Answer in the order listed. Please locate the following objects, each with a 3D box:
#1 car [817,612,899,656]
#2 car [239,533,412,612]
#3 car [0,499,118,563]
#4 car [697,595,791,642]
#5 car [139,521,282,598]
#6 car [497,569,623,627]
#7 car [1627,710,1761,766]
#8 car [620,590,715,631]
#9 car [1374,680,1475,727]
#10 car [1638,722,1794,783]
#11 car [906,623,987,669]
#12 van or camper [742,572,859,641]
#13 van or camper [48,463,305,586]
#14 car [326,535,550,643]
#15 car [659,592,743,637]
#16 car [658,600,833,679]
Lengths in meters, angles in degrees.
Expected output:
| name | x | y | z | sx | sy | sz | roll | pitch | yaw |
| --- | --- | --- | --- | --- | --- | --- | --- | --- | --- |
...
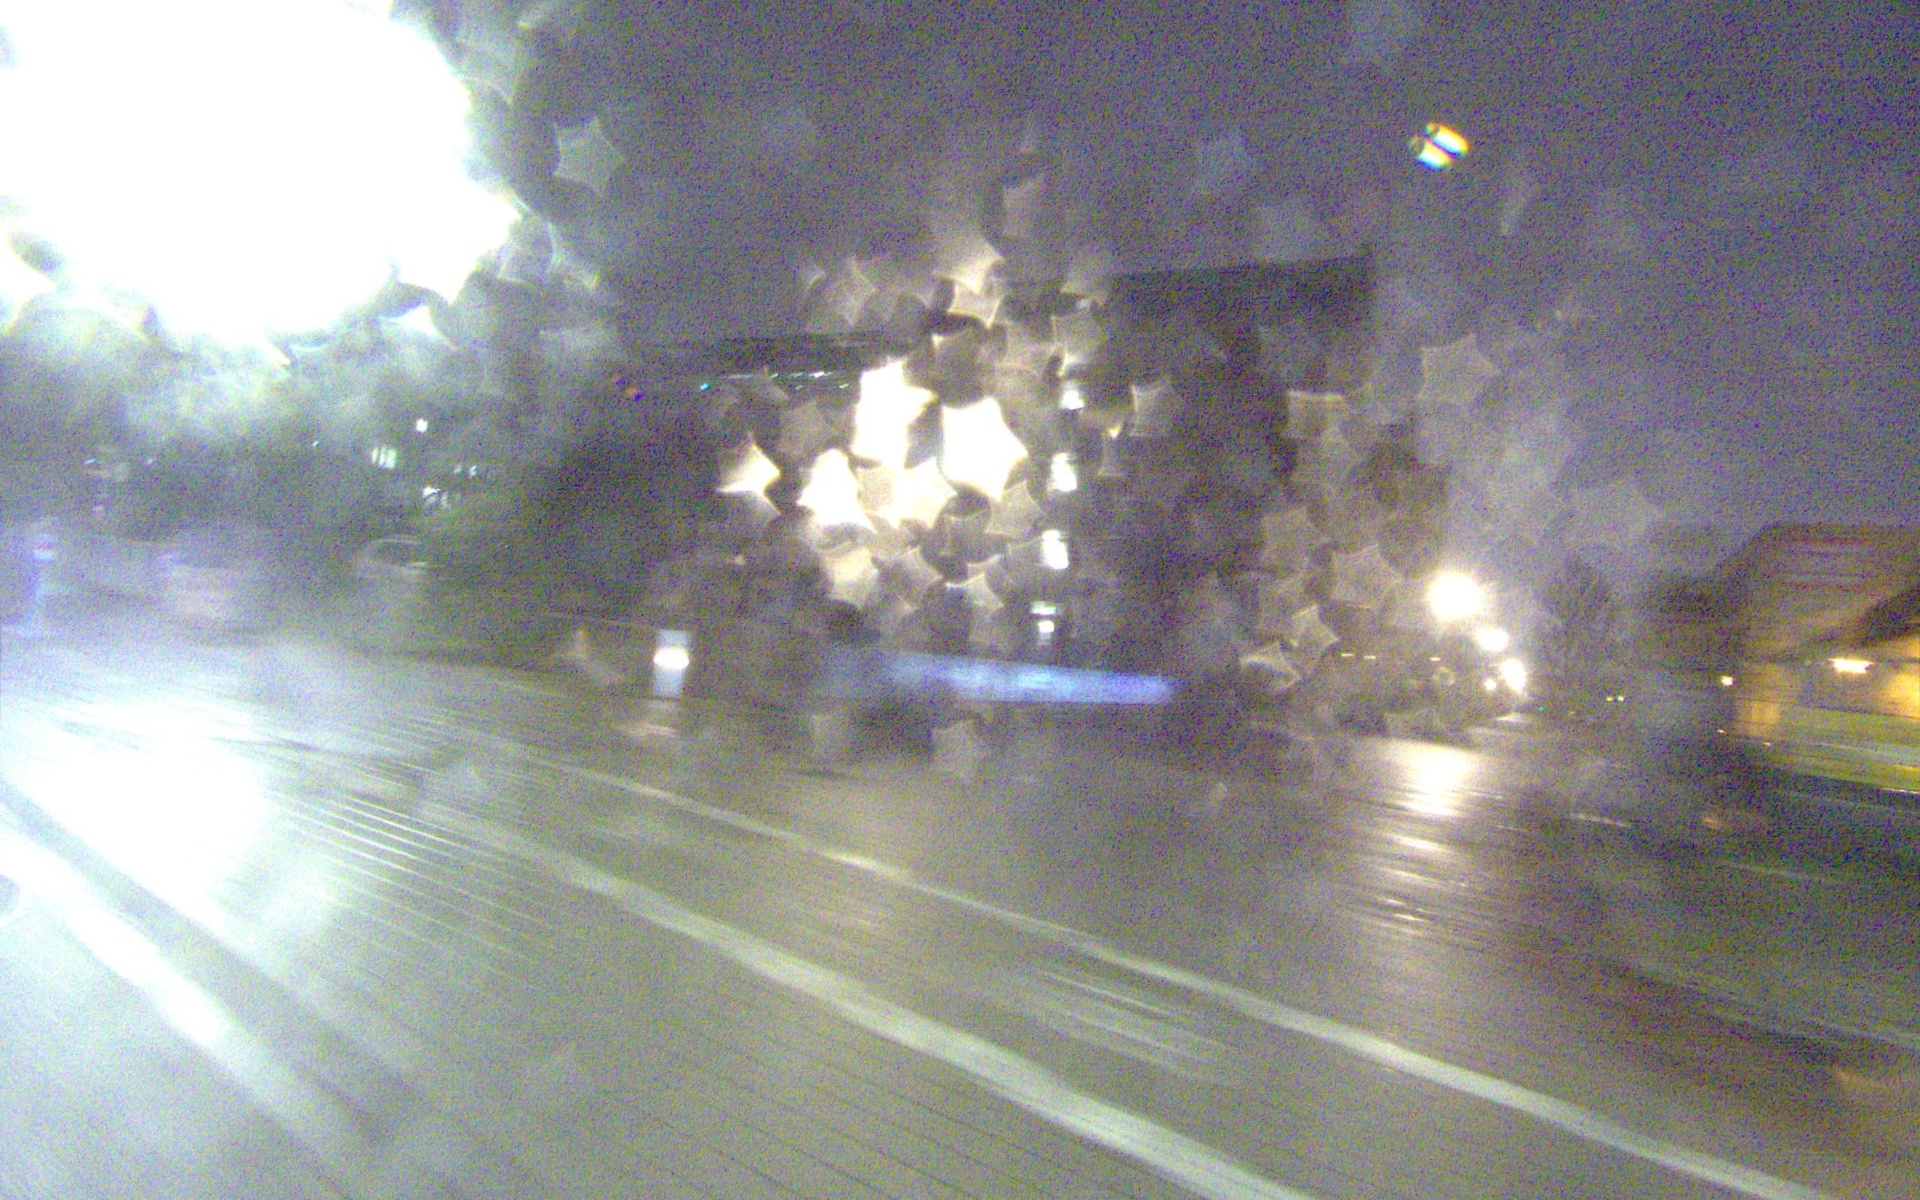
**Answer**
| name | x | y | z | sx | sy | sz | roll | pitch | yaw |
| --- | --- | --- | --- | --- | --- | --- | --- | --- | --- |
| car | -4.659 | 1.615 | 46.521 | 1.641 | 1.635 | 3.996 | 6 | -2 | 29 |
| car | -17.375 | -0.768 | 27.482 | 4.783 | 1.566 | 1.833 | 7 | -1 | 29 |
| car | -28.707 | -2.210 | 30.834 | 1.656 | 1.538 | 3.998 | 7 | -2 | 27 |
| car | -10.822 | 0.969 | 50.657 | 1.875 | 1.826 | 4.662 | 6 | -2 | 30 |
| car | -18.989 | -1.028 | 25.466 | 3.349 | 1.486 | 1.566 | 7 | -1 | 29 |
| car | -13.656 | -0.094 | 34.267 | 4.189 | 1.430 | 1.682 | 6 | -2 | 31 |
| car | 32.129 | 6.025 | 44.228 | 4.511 | 1.708 | 1.750 | 6 | -1 | 33 |
| car | -15.229 | 0.599 | 52.559 | 1.962 | 1.607 | 4.598 | 6 | -2 | 30 |
| car | 20.415 | 4.522 | 44.236 | 3.730 | 1.527 | 1.751 | 6 | -1 | 32 |
| car | 28.908 | 5.804 | 38.654 | 4.509 | 1.527 | 1.751 | 6 | -1 | 32 |
| car | -0.528 | 2.034 | 44.107 | 1.641 | 1.635 | 3.996 | 6 | -2 | 29 |
| van or camper | -7.347 | 0.380 | 47.009 | 2.341 | 2.583 | 5.390 | 6 | -2 | 29 |
| van or camper | -21.729 | -2.018 | 28.174 | 2.135 | 2.556 | 5.073 | 7 | -2 | 30 |
| car | -10.610 | -0.236 | 20.417 | 4.186 | 1.715 | 1.908 | 5 | -2 | 29 |
| car | -13.193 | 0.758 | 51.432 | 1.677 | 1.800 | 3.996 | 7 | -2 | 30 |
| car | -5.652 | 1.031 | 26.409 | 4.187 | 1.484 | 1.831 | 6 | -3 | 30 |
